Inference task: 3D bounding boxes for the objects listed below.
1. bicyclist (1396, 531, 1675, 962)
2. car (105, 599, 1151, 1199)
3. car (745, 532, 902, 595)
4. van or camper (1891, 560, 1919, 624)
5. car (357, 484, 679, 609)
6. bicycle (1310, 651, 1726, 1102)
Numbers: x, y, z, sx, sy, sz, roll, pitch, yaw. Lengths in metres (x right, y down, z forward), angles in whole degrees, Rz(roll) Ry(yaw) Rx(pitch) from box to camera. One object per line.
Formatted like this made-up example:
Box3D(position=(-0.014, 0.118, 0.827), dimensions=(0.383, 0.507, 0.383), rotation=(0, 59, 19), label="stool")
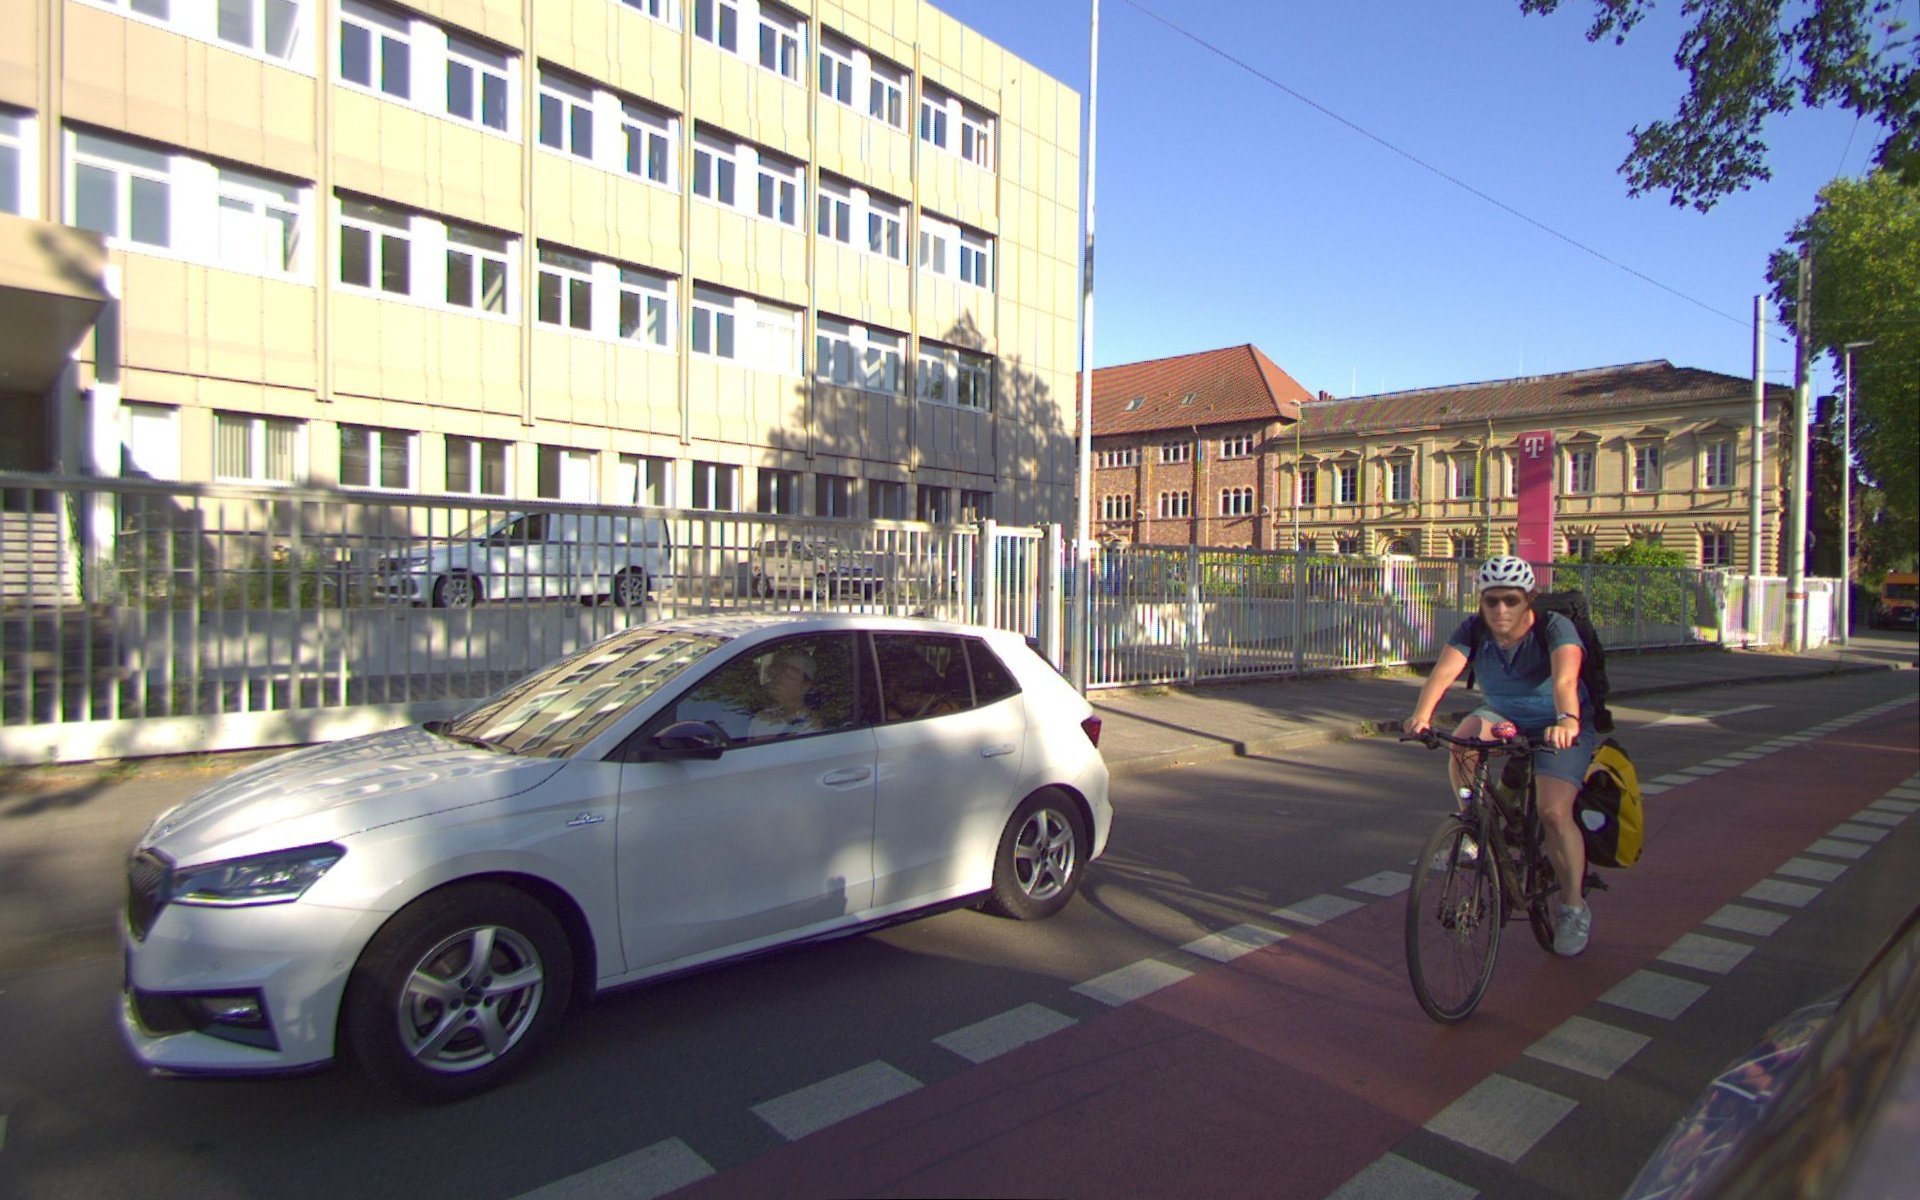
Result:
Box3D(position=(2.243, 0.481, 3.936), dimensions=(0.845, 1.440, 0.726), rotation=(-1, 0, -43), label="bicyclist")
Box3D(position=(-1.075, 0.720, 4.401), dimensions=(4.005, 1.406, 1.703), rotation=(-1, 1, -42), label="car")
Box3D(position=(-3.873, -1.003, 28.176), dimensions=(4.563, 1.600, 1.968), rotation=(2, 2, 44), label="car")
Box3D(position=(41.303, -0.376, 43.292), dimensions=(1.994, 2.626, 5.537), rotation=(0, 1, 44), label="van or camper")
Box3D(position=(-7.452, -0.848, 17.424), dimensions=(1.994, 1.865, 4.709), rotation=(2, 2, 44), label="car")
Box3D(position=(2.297, 0.855, 3.986), dimensions=(2.268, 1.158, 0.763), rotation=(-1, 2, -43), label="bicycle")
